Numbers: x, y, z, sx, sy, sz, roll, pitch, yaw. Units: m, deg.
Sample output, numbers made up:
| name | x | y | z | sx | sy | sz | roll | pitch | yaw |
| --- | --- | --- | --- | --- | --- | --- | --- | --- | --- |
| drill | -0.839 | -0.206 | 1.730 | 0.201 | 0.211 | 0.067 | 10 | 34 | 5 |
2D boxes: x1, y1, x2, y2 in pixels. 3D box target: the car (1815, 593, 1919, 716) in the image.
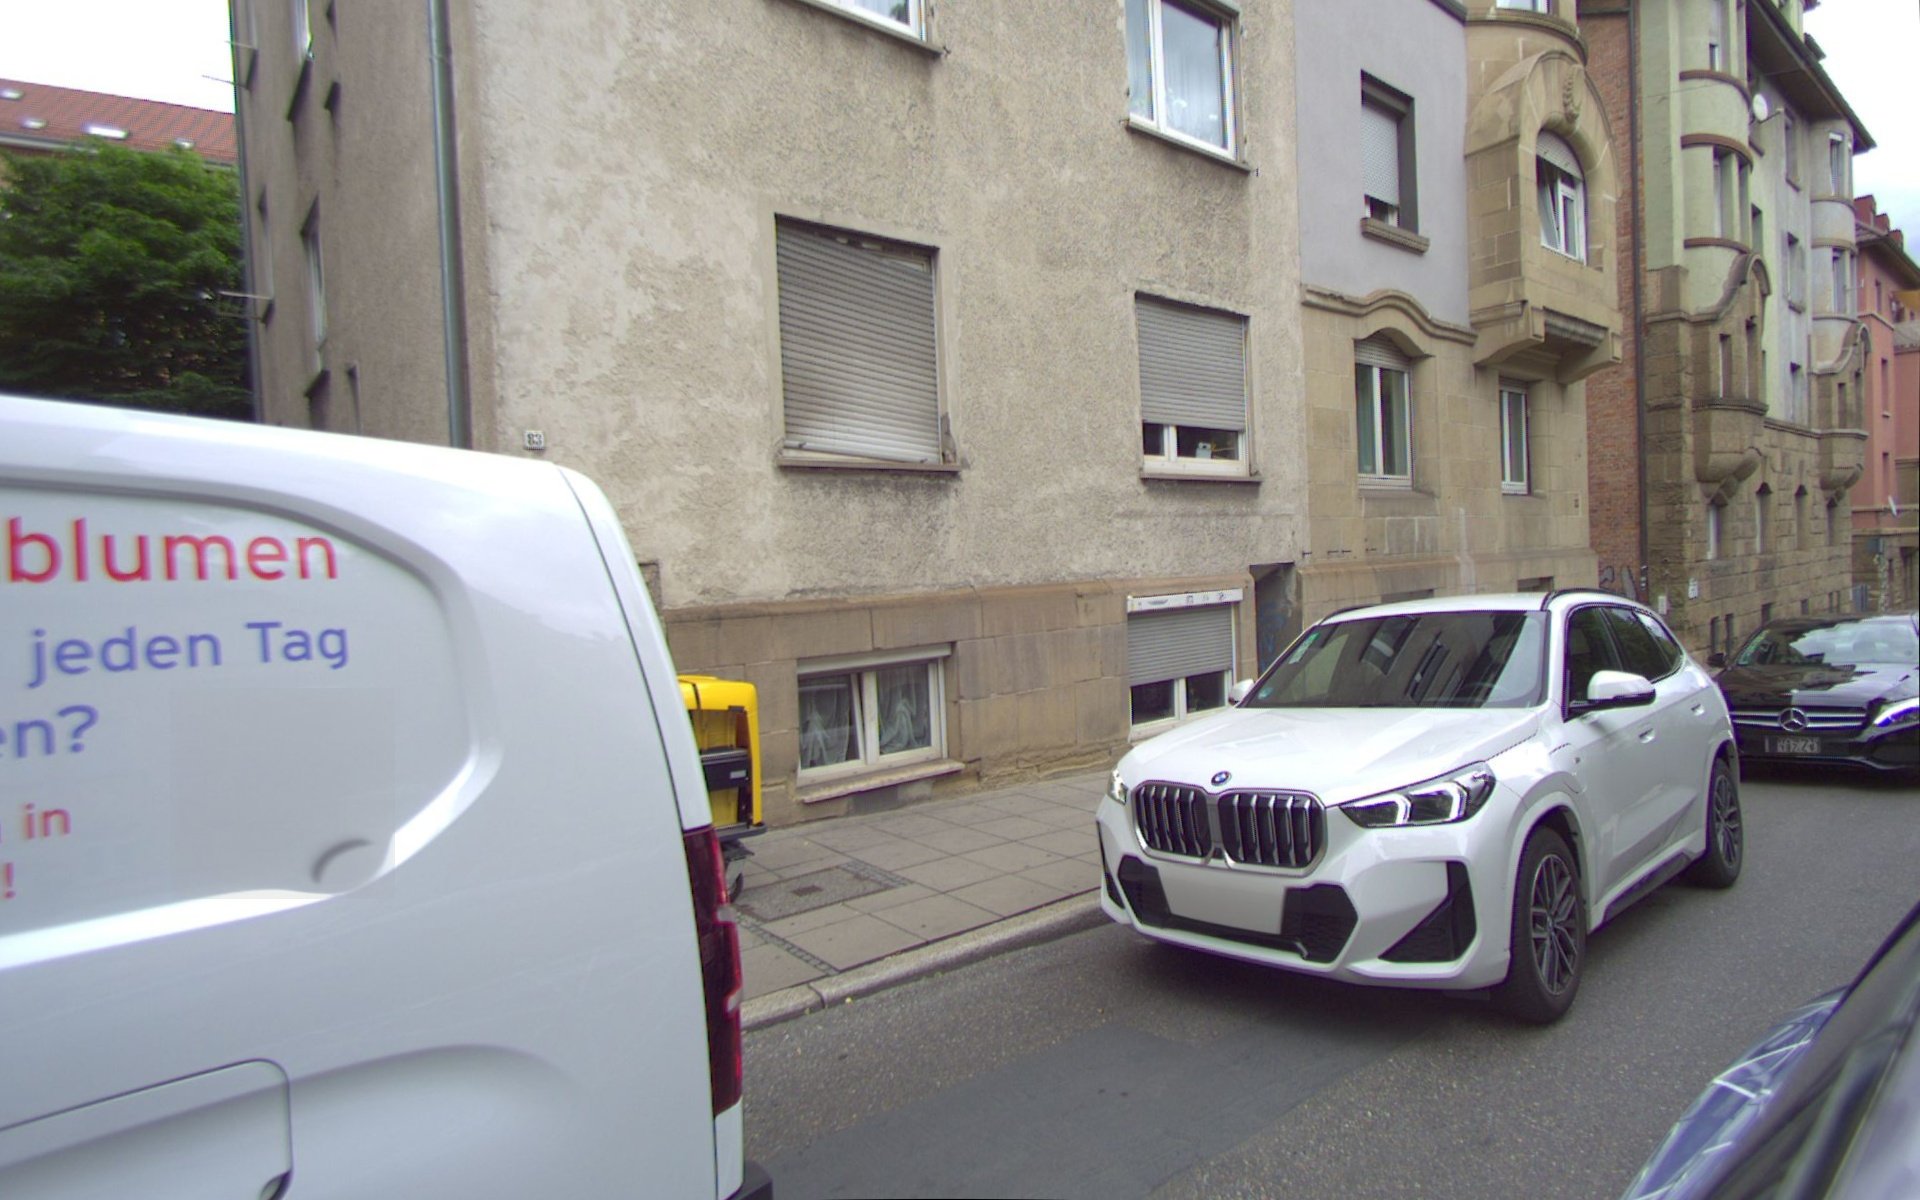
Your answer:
| name | x | y | z | sx | sy | sz | roll | pitch | yaw |
| --- | --- | --- | --- | --- | --- | --- | --- | --- | --- |
| car | 13.597 | 0.652 | 13.973 | 4.226 | 1.534 | 1.935 | -1 | -3 | -40 |

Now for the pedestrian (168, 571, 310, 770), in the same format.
| name | x | y | z | sx | sy | sz | roll | pitch | yaw |
| --- | --- | --- | --- | --- | --- | --- | --- | --- | --- |
| pedestrian | -6.614 | 0.604 | 9.296 | 0.808 | 1.666 | 0.773 | 0 | 6 | 42 |

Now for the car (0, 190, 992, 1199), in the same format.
| name | x | y | z | sx | sy | sz | roll | pitch | yaw |
| --- | --- | --- | --- | --- | --- | --- | --- | --- | --- |
| car | -2.314 | 0.579 | 0.912 | 4.597 | 1.798 | 1.977 | -1 | -3 | -42 |

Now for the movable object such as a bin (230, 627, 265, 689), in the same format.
| name | x | y | z | sx | sy | sz | roll | pitch | yaw |
| --- | --- | --- | --- | --- | --- | --- | --- | --- | --- |
| movable object such as a bin | -10.979 | 0.881 | 15.596 | 0.405 | 0.923 | 0.340 | 0 | 0 | -40 |

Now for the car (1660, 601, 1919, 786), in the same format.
| name | x | y | z | sx | sy | sz | roll | pitch | yaw |
| --- | --- | --- | --- | --- | --- | --- | --- | --- | --- |
| car | 8.454 | 0.747 | 9.647 | 4.133 | 1.395 | 1.882 | -1 | -3 | -41 |

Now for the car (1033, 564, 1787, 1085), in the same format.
| name | x | y | z | sx | sy | sz | roll | pitch | yaw |
| --- | --- | --- | --- | --- | --- | --- | --- | --- | --- |
| car | 2.570 | 0.719 | 5.216 | 4.276 | 1.576 | 1.857 | -1 | -4 | -42 |

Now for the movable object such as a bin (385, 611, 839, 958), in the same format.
| name | x | y | z | sx | sy | sz | roll | pitch | yaw |
| --- | --- | --- | --- | --- | --- | --- | --- | --- | --- |
| movable object such as a bin | -1.808 | 0.792 | 5.396 | 1.979 | 1.391 | 1.223 | -1 | 2 | -43 |
